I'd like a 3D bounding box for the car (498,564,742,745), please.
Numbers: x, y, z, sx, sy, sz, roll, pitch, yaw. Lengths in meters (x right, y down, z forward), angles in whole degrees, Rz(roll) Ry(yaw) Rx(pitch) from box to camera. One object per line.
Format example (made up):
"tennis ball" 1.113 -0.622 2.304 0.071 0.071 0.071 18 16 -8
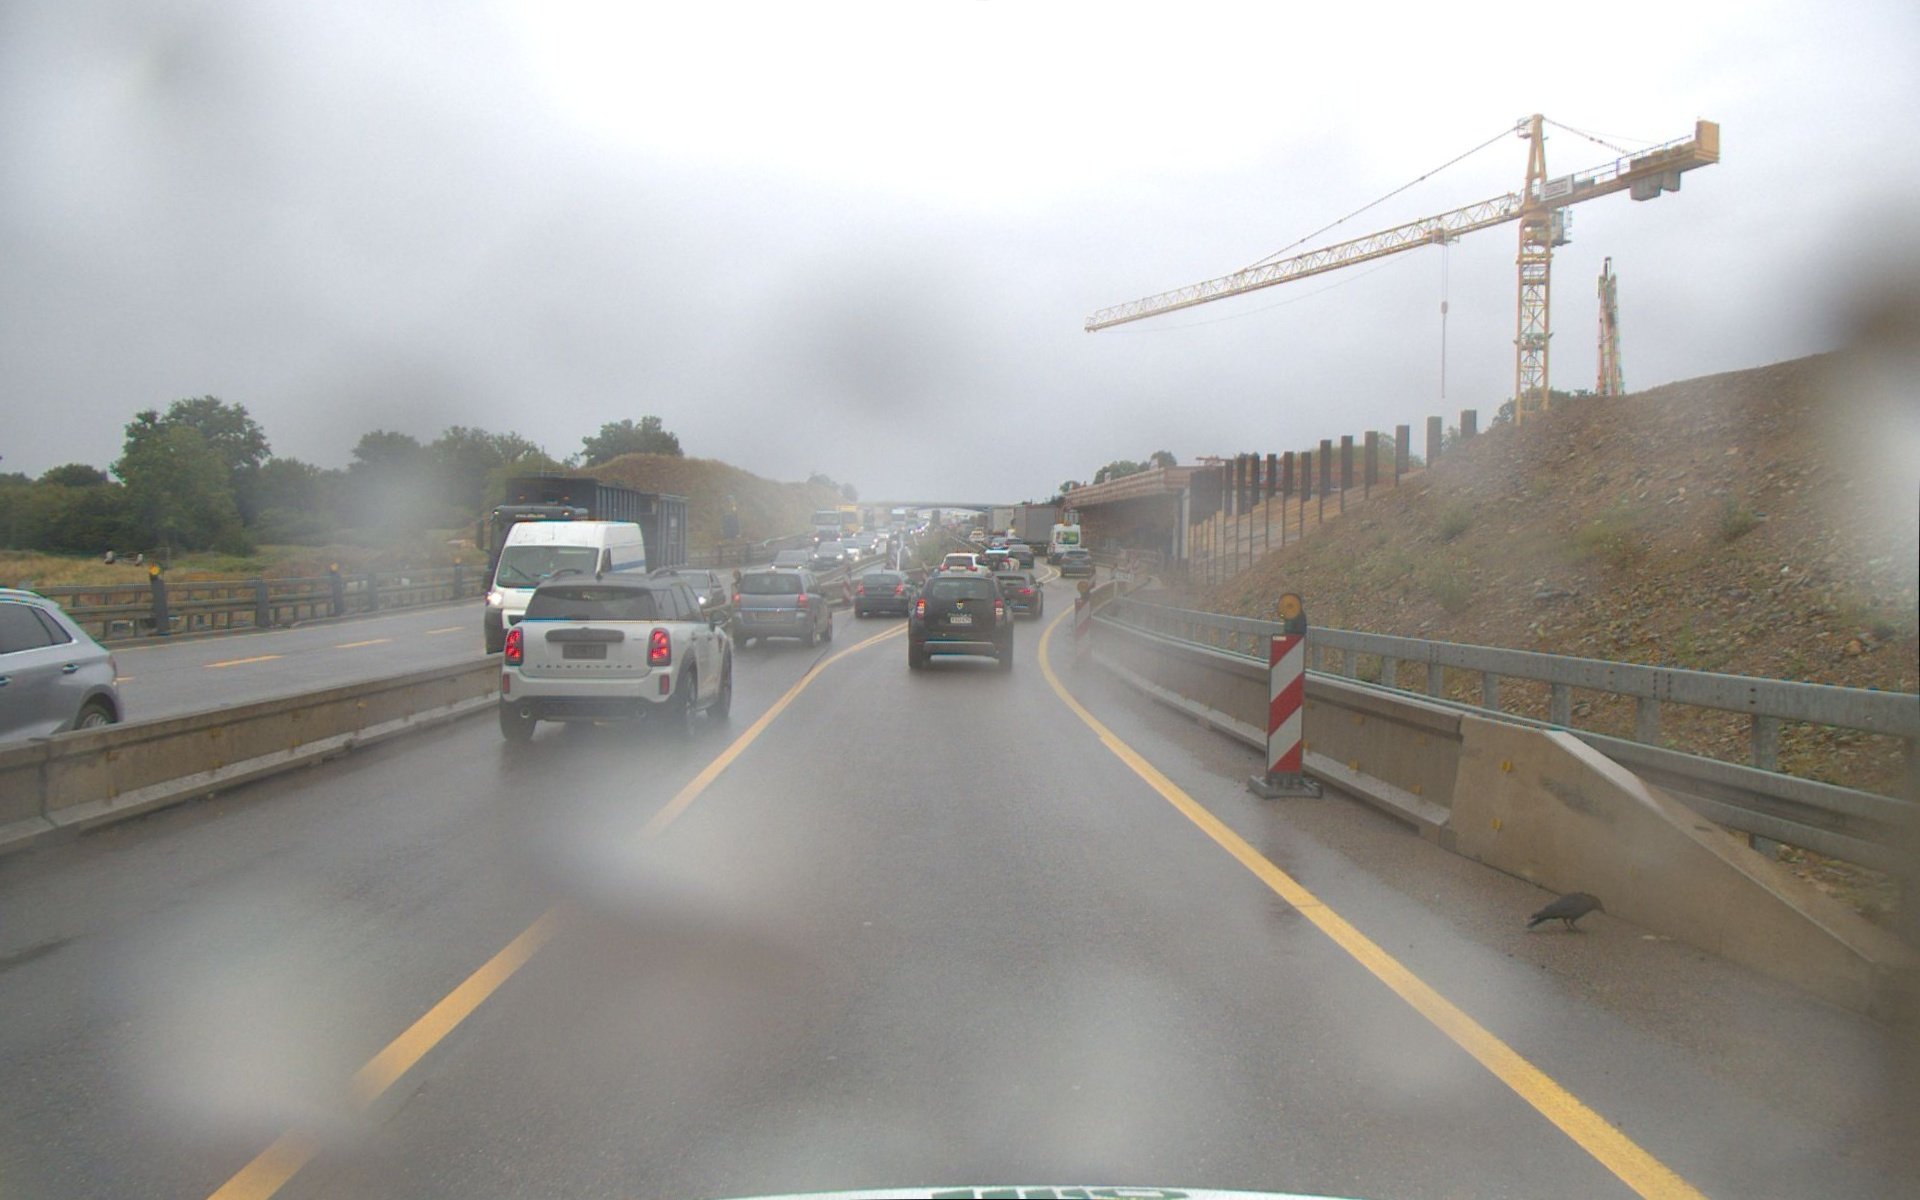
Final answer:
"car" -3.343 0.519 17.045 1.779 1.628 4.305 0 -1 -3

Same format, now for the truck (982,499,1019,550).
"truck" 4.745 -8.916 196.913 3.727 5.131 12.914 0 -1 -2

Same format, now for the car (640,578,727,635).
"car" -7.696 0.141 46.382 1.831 1.497 4.668 0 1 -3

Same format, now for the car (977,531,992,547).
"car" 3.564 -8.742 237.315 1.953 2.049 3.998 0 -1 -2

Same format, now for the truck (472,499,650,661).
"truck" -7.425 -0.362 31.425 2.104 2.761 6.013 0 0 -2

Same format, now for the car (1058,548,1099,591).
"car" 6.511 -1.674 91.112 1.952 2.201 4.140 0 -1 0

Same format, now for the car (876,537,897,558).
"car" -8.585 -6.142 193.813 2.193 2.400 4.876 1 0 -1

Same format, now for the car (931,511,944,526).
"car" -3.476 -12.577 254.399 1.953 2.049 3.998 0 -1 -2

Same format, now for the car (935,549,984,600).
"car" -0.061 -1.073 71.365 1.953 2.049 3.891 0 -1 -2

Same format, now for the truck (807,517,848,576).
"truck" -11.725 -4.685 147.055 3.020 5.005 8.563 1 0 -1

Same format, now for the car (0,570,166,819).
"car" -6.808 0.592 10.413 1.643 1.550 4.343 0 0 -2

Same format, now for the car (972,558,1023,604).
"car" 1.944 -0.939 85.159 1.951 2.201 4.143 0 -1 11

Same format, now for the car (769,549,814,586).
"car" -8.106 -1.564 79.855 1.702 1.714 5.551 1 1 -1

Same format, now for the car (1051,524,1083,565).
"car" 7.412 -3.841 114.925 1.952 2.528 4.981 0 -1 0

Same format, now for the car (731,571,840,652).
"car" -3.706 0.282 35.726 1.953 1.628 4.139 0 -1 -1

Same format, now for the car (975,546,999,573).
"car" 2.372 -3.518 144.284 1.953 2.201 4.139 0 -1 -1

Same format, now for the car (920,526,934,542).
"car" -4.851 -9.608 240.292 1.953 2.049 3.998 0 -1 -2

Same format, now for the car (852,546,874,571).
"car" -7.897 -3.370 134.460 1.590 1.841 3.636 0 -1 -1

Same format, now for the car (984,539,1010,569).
"car" 2.971 -3.649 132.904 1.952 2.201 4.142 0 -1 4

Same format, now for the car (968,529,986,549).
"car" 1.872 -6.769 183.634 1.812 1.927 4.020 0 -1 -1

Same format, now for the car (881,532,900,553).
"car" -8.804 -7.246 208.799 2.171 2.411 4.663 1 0 -1

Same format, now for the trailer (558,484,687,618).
"trailer" -11.012 -1.565 54.942 2.691 4.039 9.670 0 1 -3

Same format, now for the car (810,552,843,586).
"car" -8.041 -1.851 99.828 1.749 1.841 4.497 0 -1 -1

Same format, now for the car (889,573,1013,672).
"car" -0.171 0.415 29.331 2.039 1.628 4.139 0 -1 -1

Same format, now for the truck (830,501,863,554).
"truck" -12.436 -7.898 182.024 3.078 5.512 8.522 1 0 -1

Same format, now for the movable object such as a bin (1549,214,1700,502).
"movable object such as a bin" 29.366 -10.317 73.743 4.617 11.033 10.311 0 -2 13

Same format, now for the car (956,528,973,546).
"car" 0.537 -7.607 201.360 1.953 2.049 3.999 0 0 -2

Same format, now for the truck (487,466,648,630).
"truck" -10.582 -1.376 45.508 2.588 4.039 9.209 0 1 -3

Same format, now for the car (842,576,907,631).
"car" -2.664 0.146 51.803 1.954 1.628 4.137 0 -1 -3

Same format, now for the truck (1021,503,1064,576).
"truck" 6.931 -4.938 137.521 3.036 5.521 9.448 0 -1 6

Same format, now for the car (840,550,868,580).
"car" -7.249 -2.393 113.513 1.749 1.841 4.497 0 -1 -1

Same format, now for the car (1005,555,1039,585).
"car" 3.965 -1.897 105.503 1.953 1.792 3.813 0 -1 -1

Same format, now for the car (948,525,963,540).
"car" -0.568 -9.307 228.128 1.953 2.049 3.999 0 0 -2
